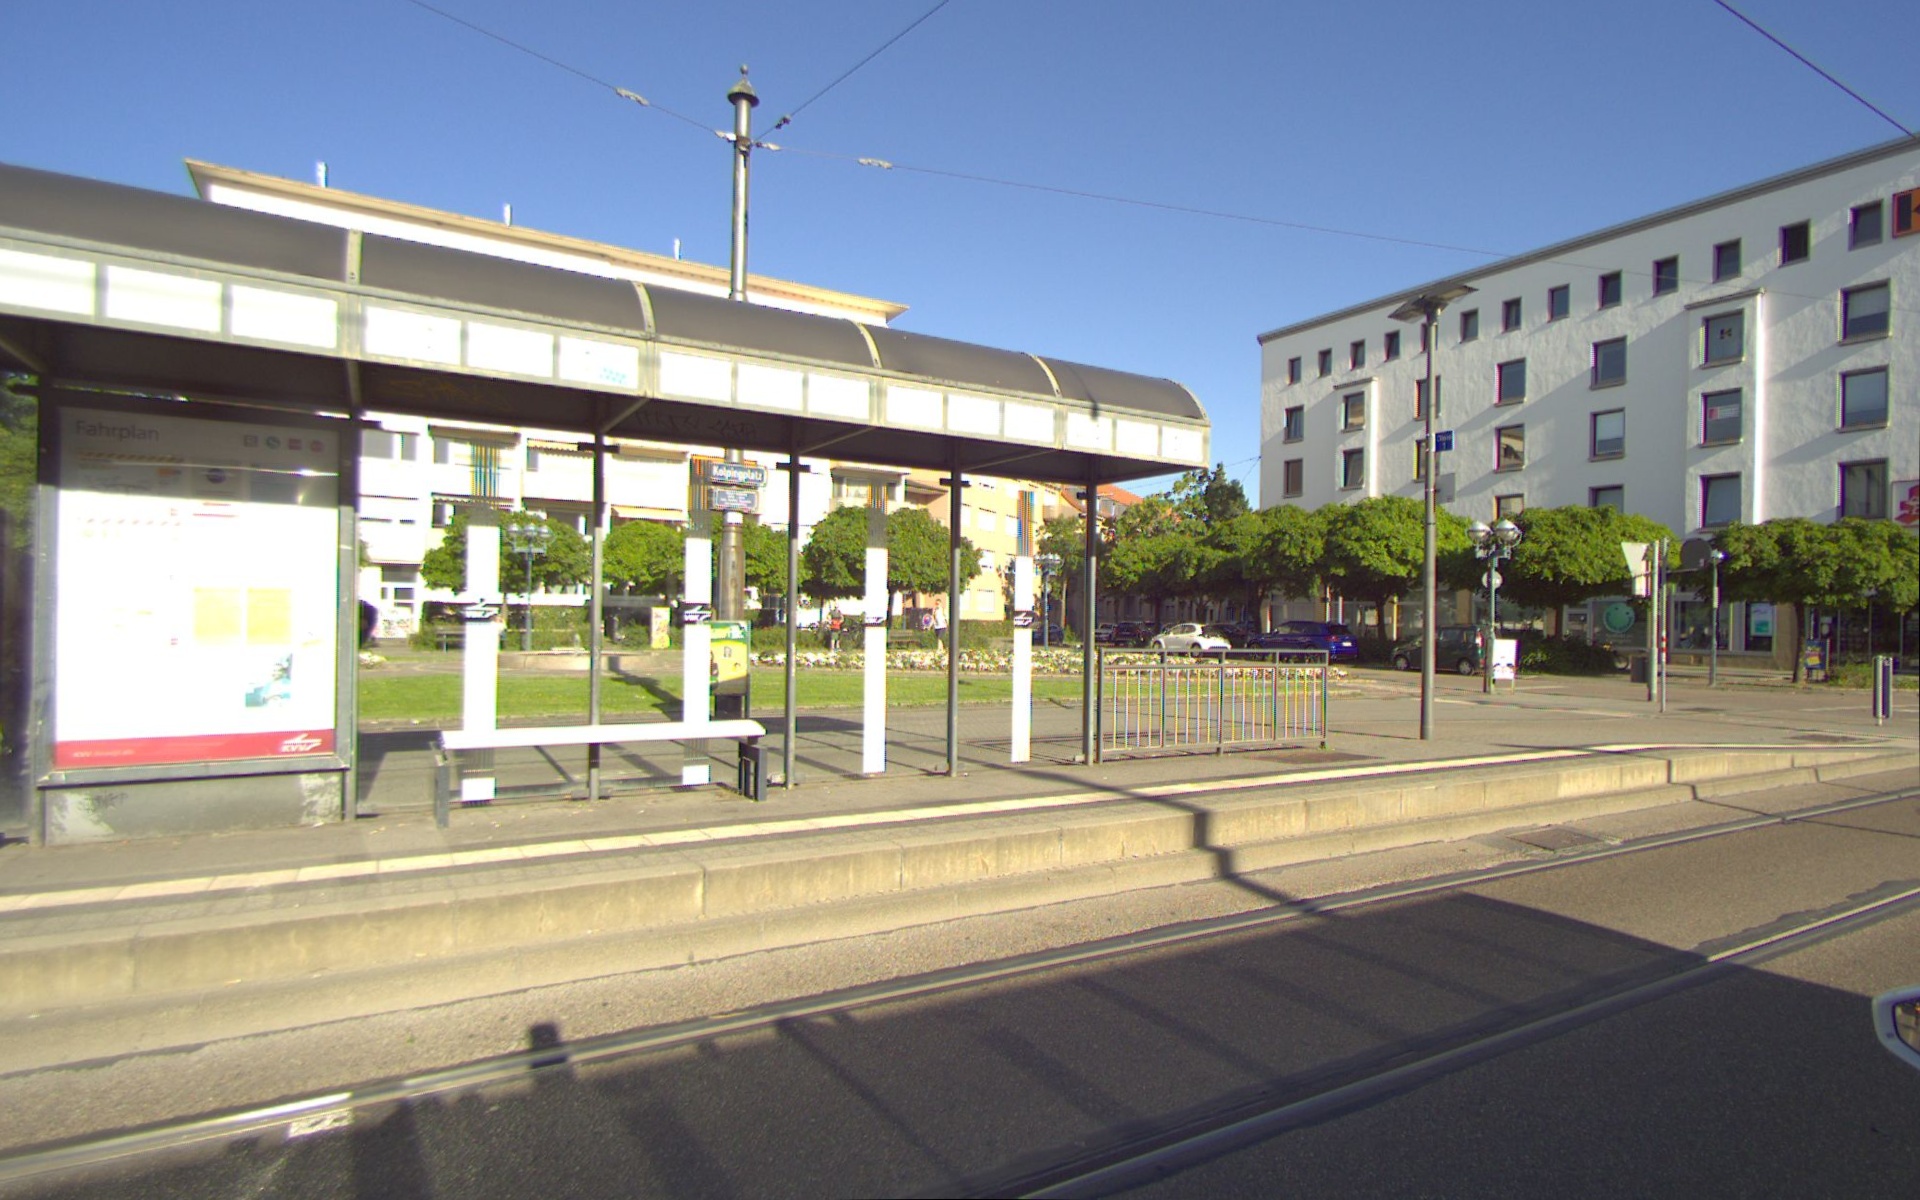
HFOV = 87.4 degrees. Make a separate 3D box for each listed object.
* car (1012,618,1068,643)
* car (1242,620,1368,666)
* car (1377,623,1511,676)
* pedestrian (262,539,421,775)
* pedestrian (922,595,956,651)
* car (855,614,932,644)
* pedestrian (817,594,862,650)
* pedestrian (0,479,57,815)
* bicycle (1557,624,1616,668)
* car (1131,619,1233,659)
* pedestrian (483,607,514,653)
[{"bbox_3d":[5.193,1.962,64.788,1.886,1.514,4.343,2,-1,31],"label":"car"},{"bbox_3d":[13.821,1.694,40.512,1.978,1.684,4.581,2,-1,-32],"label":"car"},{"bbox_3d":[17.032,1.706,35.529,1.804,1.728,3.968,2,-1,-30],"label":"car"},{"bbox_3d":[-4.824,0.432,7.923,0.962,1.702,0.989,1,-1,-28],"label":"pedestrian"},{"bbox_3d":[-0.715,0.765,33.672,0.856,1.841,0.944,1,-1,-19],"label":"pedestrian"},{"bbox_3d":[-3.145,1.374,47.453,3.271,1.372,1.638,2,-1,-29],"label":"car"},{"bbox_3d":[-4.471,0.816,37.236,1.219,2.040,1.214,2,-1,-30],"label":"pedestrian"},{"bbox_3d":[-5.630,0.265,5.762,0.519,1.883,0.426,1,-3,-27],"label":"pedestrian"},{"bbox_3d":[23.845,1.744,38.207,2.585,1.628,0.616,2,-1,-26],"label":"bicycle"},{"bbox_3d":[9.987,1.730,45.557,1.835,1.628,4.581,2,-1,-32],"label":"car"},{"bbox_3d":[-14.365,0.926,31.262,0.673,1.378,1.042,2,-1,-35],"label":"pedestrian"}]
